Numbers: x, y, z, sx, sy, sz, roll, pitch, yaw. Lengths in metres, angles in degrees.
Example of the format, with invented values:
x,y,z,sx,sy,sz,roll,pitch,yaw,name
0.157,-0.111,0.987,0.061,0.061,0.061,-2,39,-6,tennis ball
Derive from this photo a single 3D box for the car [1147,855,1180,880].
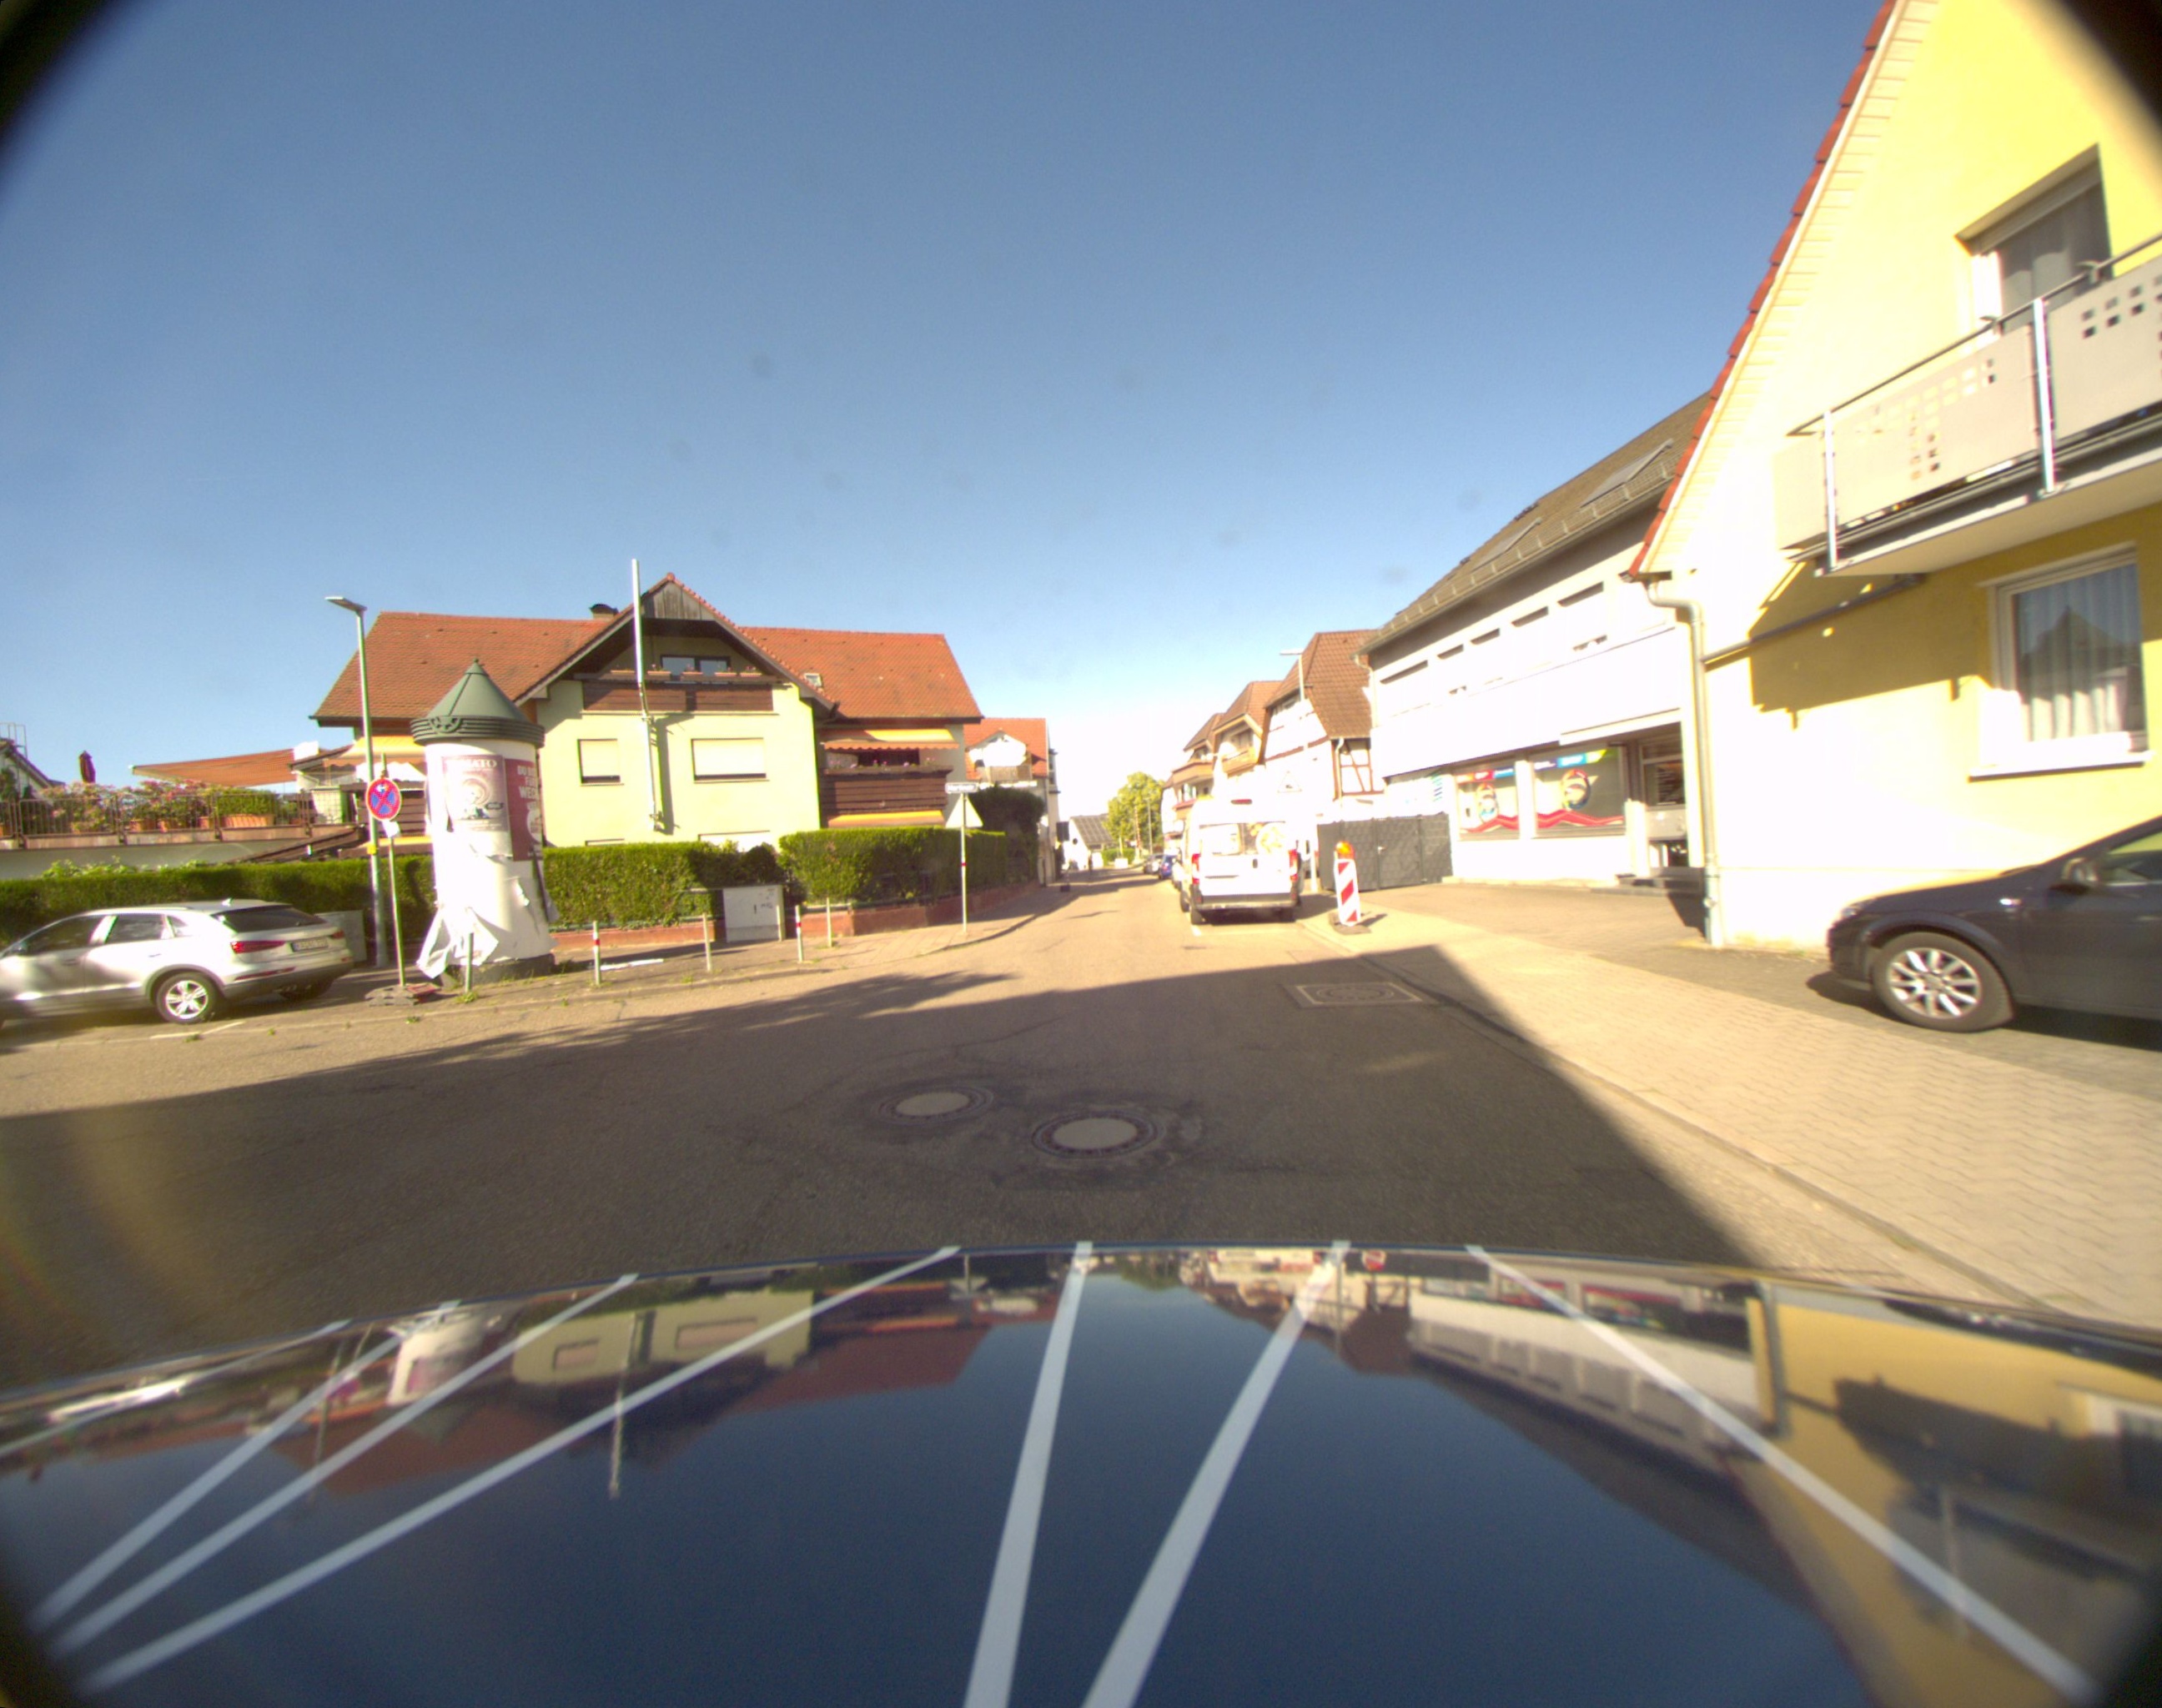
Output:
x,y,z,sx,sy,sz,roll,pitch,yaw,name
5.696,0.911,52.824,1.763,1.547,4.000,-4,0,0,car

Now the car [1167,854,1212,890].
x,y,z,sx,sy,sz,roll,pitch,yaw,name
5.031,0.799,35.637,1.659,1.498,3.684,-4,0,3,car

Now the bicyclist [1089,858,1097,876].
x,y,z,sx,sy,sz,roll,pitch,yaw,name
1.132,1.200,70.942,0.643,1.655,0.605,-1,1,-1,bicyclist

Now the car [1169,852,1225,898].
x,y,z,sx,sy,sz,roll,pitch,yaw,name
4.532,0.775,30.227,1.726,1.609,4.113,-4,0,3,car

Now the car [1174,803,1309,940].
x,y,z,sx,sy,sz,roll,pitch,yaw,name
3.359,0.331,17.127,2.257,2.456,5.518,-3,0,6,car

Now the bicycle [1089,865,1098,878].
x,y,z,sx,sy,sz,roll,pitch,yaw,name
1.154,1.613,70.845,0.639,1.175,2.021,-3,0,-1,bicycle

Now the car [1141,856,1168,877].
x,y,z,sx,sy,sz,roll,pitch,yaw,name
5.673,0.952,58.677,1.627,1.468,3.615,-4,0,0,car

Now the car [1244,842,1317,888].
x,y,z,sx,sy,sz,roll,pitch,yaw,name
7.837,0.408,30.283,1.646,1.577,4.111,-4,0,-1,car

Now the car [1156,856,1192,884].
x,y,z,sx,sy,sz,roll,pitch,yaw,name
5.352,0.889,44.007,1.622,1.430,3.956,-4,0,2,car

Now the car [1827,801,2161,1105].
x,y,z,sx,sy,sz,roll,pitch,yaw,name
6.212,0.440,3.173,1.694,1.436,4.174,-5,0,-8,car

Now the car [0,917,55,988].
x,y,z,sx,sy,sz,roll,pitch,yaw,name
-26.028,2.401,17.040,1.699,1.561,3.717,-4,1,-19,car

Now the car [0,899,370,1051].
x,y,z,sx,sy,sz,roll,pitch,yaw,name
-12.944,1.613,10.444,4.303,1.584,1.813,-3,1,-7,car
